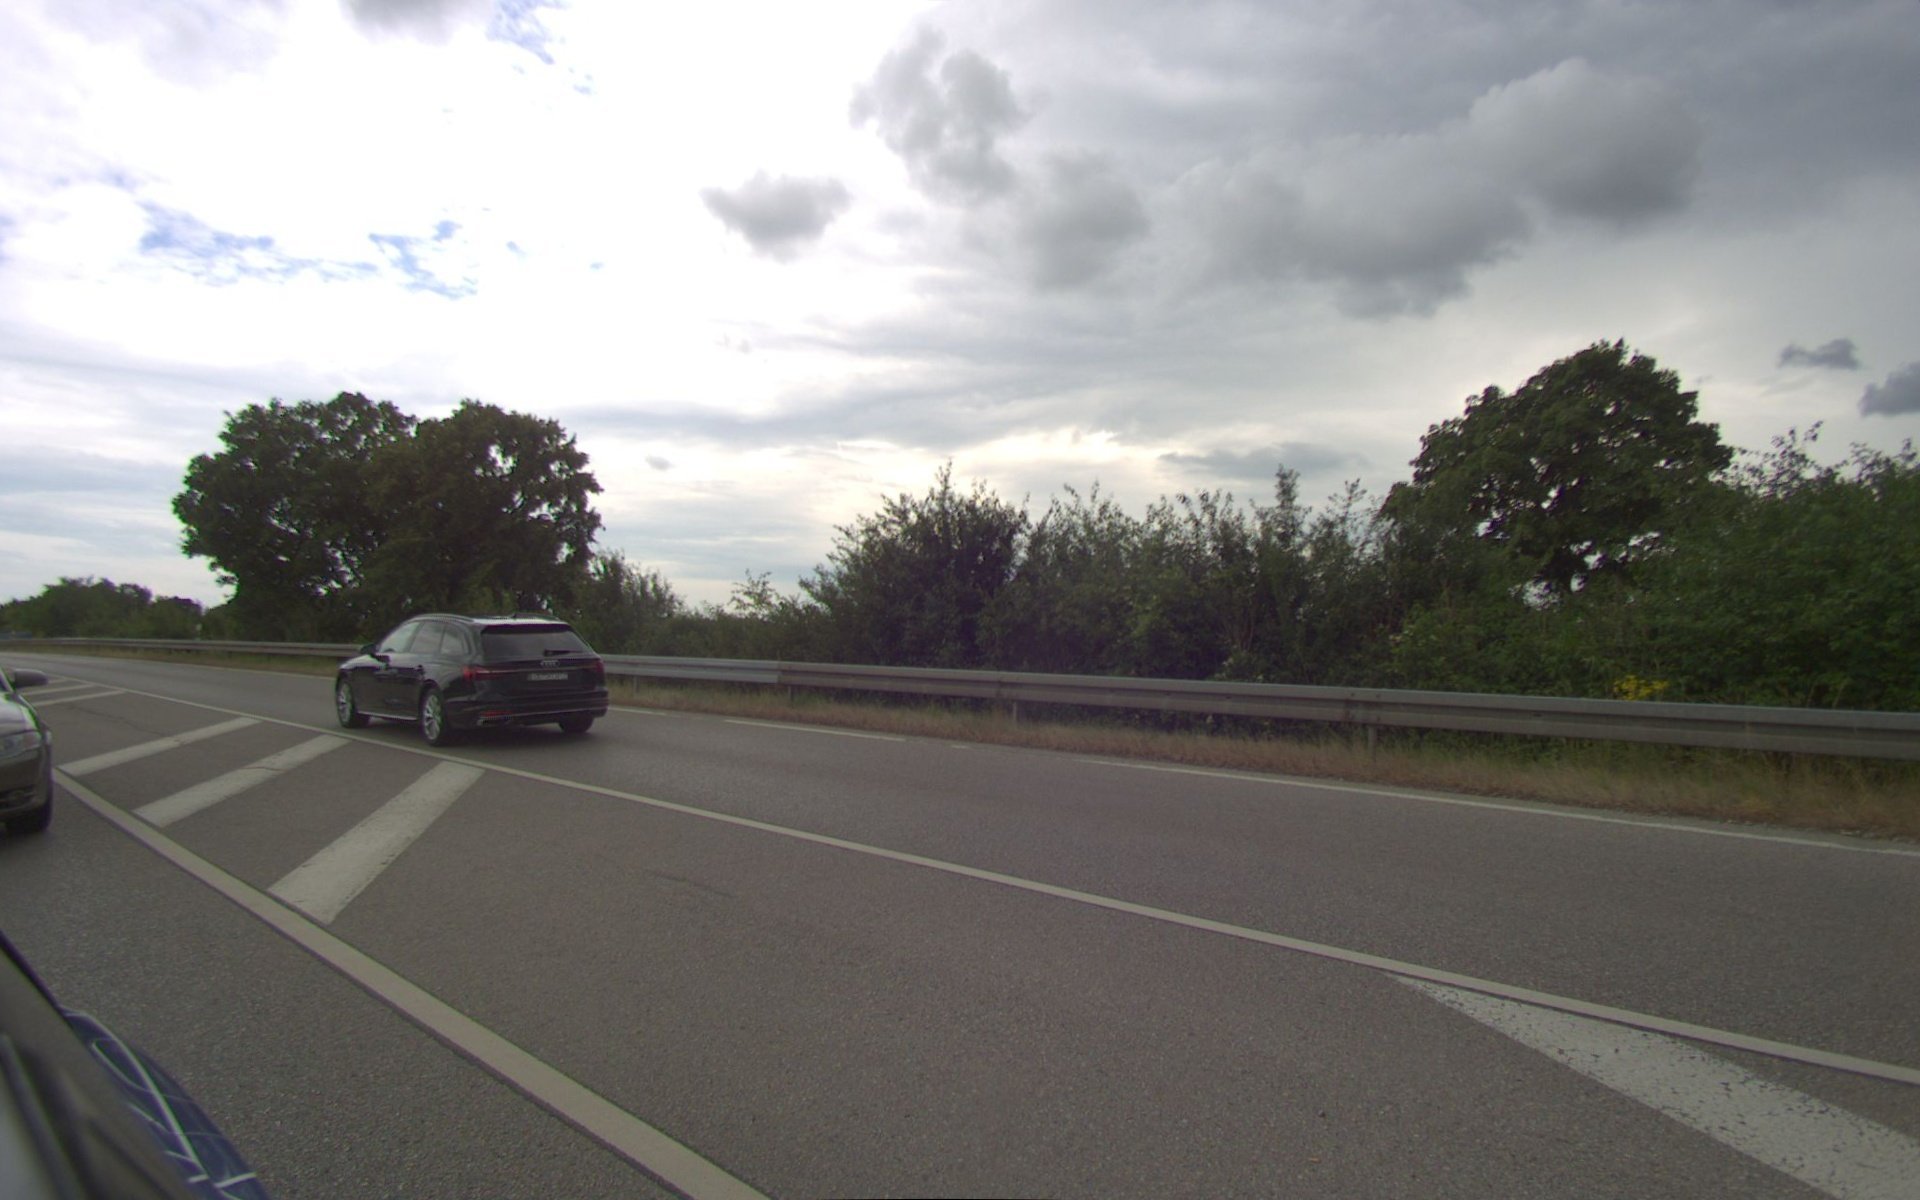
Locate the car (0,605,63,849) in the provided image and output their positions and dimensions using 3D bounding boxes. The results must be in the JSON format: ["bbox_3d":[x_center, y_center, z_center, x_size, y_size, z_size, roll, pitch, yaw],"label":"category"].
[{"bbox_3d":[-7.662,0.802,6.950,4.032,1.461,1.761,-2,-2,41],"label":"car"}]

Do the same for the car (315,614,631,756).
[{"bbox_3d":[-6.003,0.872,12.191,4.609,1.385,1.801,-1,-1,42],"label":"car"}]
